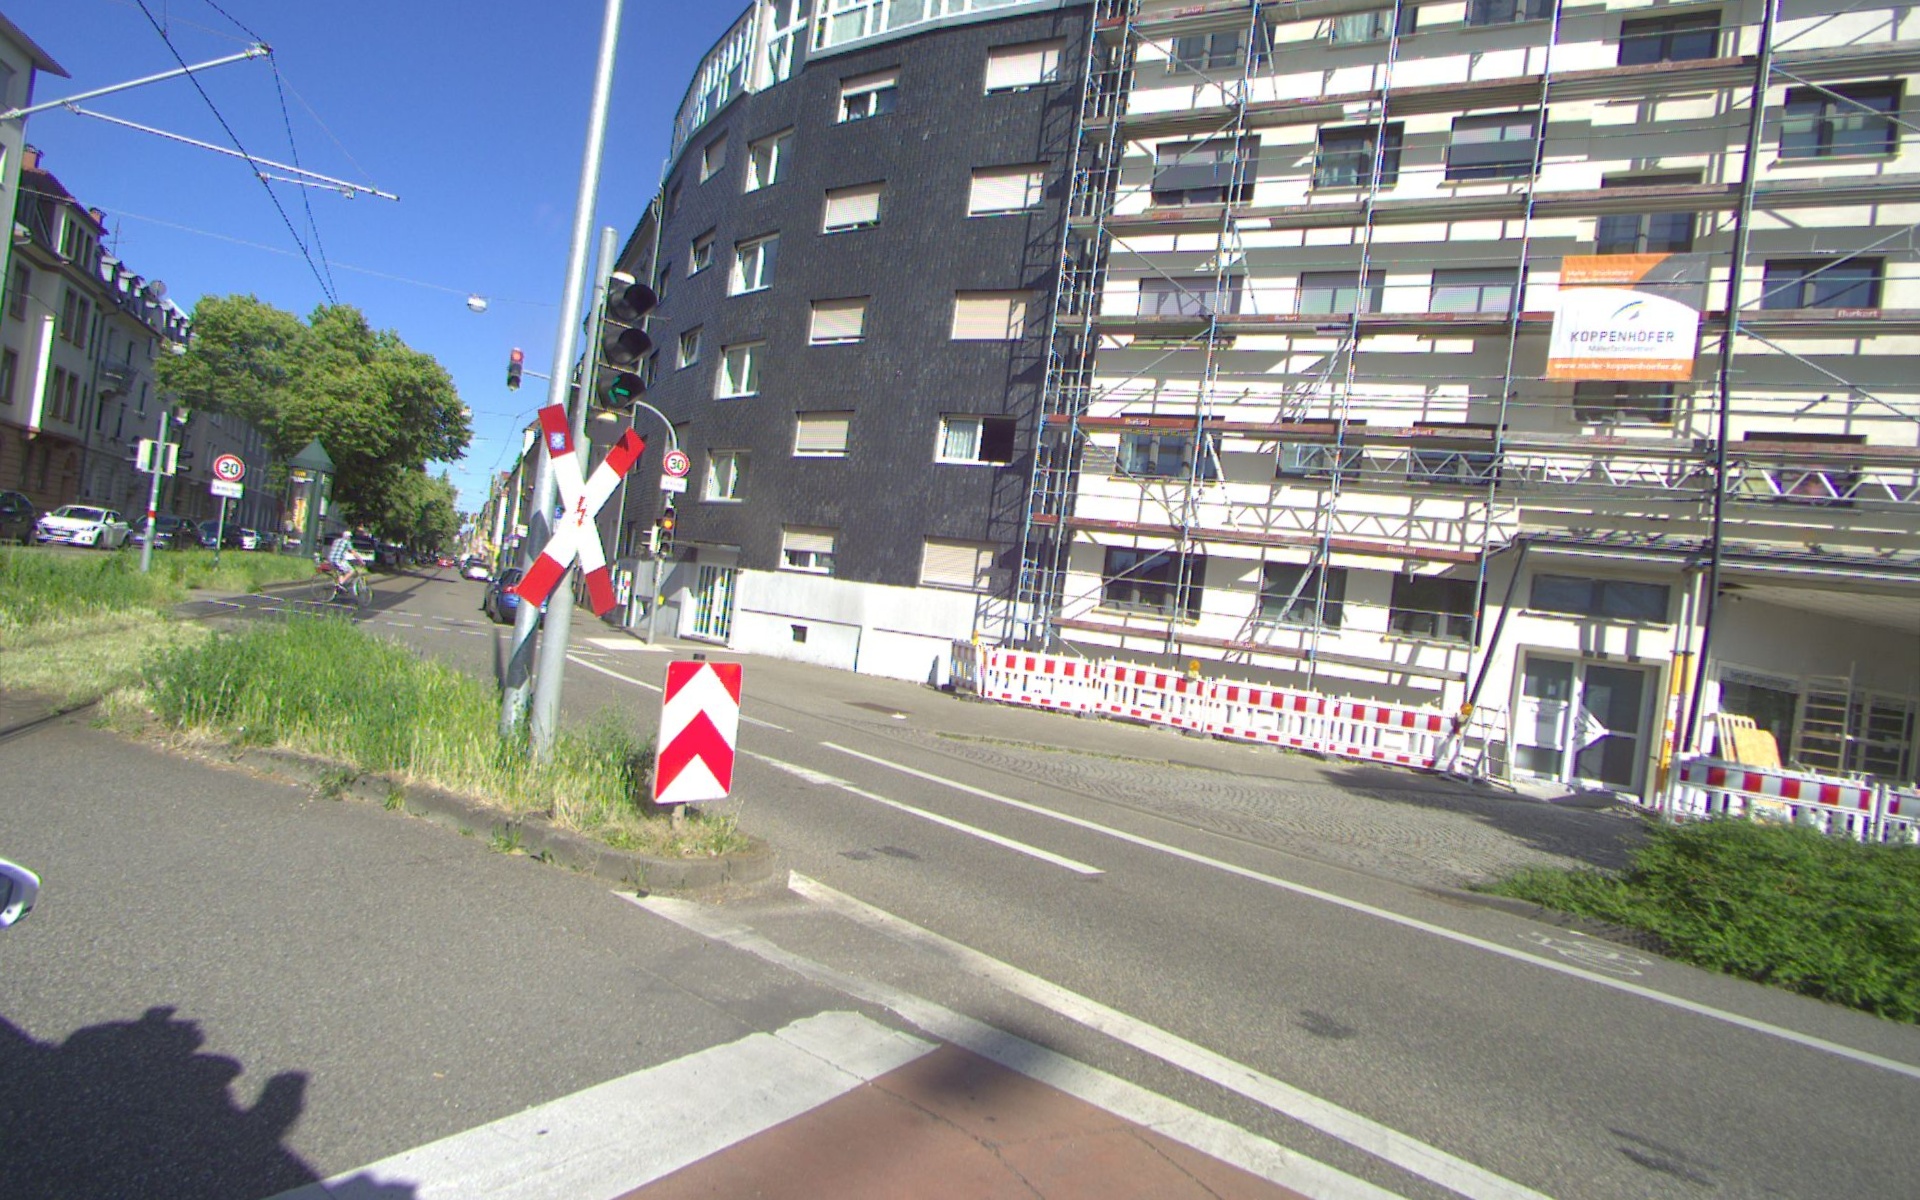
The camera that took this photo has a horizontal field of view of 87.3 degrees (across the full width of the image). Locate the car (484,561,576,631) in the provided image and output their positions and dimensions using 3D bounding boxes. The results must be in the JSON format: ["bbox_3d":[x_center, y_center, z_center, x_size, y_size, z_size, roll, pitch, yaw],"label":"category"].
[{"bbox_3d":[-11.431,-0.148,26.632,1.762,1.459,3.592,9,-1,-29],"label":"car"}]

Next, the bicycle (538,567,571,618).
[{"bbox_3d":[-13.362,-0.281,33.114,0.568,1.529,2.788,8,-1,-28],"label":"bicycle"}]

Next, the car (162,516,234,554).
[{"bbox_3d":[-38.850,-3.261,51.389,1.976,1.505,3.977,8,-1,-25],"label":"car"}]

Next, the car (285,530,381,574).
[{"bbox_3d":[-32.083,-2.464,51.500,3.924,1.612,1.912,8,-1,16],"label":"car"}]

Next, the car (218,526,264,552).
[{"bbox_3d":[-50.781,-4.287,71.145,1.978,1.411,3.973,8,-2,-27],"label":"car"}]

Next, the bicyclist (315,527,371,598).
[{"bbox_3d":[-14.804,-0.879,24.159,0.551,1.577,0.824,7,0,15],"label":"bicyclist"}]

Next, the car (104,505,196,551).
[{"bbox_3d":[-34.548,-3.038,43.043,1.976,1.490,3.977,8,-1,-25],"label":"car"}]

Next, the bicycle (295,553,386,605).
[{"bbox_3d":[-14.858,-0.476,24.177,0.578,1.044,1.859,7,-1,15],"label":"bicycle"}]

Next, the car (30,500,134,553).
[{"bbox_3d":[-31.303,-2.579,35.986,1.775,1.500,3.510,8,-1,-26],"label":"car"}]

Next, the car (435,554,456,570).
[{"bbox_3d":[-69.267,-5.142,135.474,1.974,1.821,3.980,8,-1,-22],"label":"car"}]

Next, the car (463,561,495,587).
[{"bbox_3d":[-36.740,-1.923,76.862,1.977,1.636,3.977,9,-3,-26],"label":"car"}]

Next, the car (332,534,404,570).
[{"bbox_3d":[-40.605,-3.280,69.077,3.761,1.806,1.836,8,-1,-15],"label":"car"}]

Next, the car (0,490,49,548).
[{"bbox_3d":[-28.491,-2.478,29.289,1.775,1.584,3.742,8,-1,-26],"label":"car"}]

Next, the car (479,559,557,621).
[{"bbox_3d":[-13.678,-0.356,30.991,1.805,1.526,3.972,8,-1,-28],"label":"car"}]
